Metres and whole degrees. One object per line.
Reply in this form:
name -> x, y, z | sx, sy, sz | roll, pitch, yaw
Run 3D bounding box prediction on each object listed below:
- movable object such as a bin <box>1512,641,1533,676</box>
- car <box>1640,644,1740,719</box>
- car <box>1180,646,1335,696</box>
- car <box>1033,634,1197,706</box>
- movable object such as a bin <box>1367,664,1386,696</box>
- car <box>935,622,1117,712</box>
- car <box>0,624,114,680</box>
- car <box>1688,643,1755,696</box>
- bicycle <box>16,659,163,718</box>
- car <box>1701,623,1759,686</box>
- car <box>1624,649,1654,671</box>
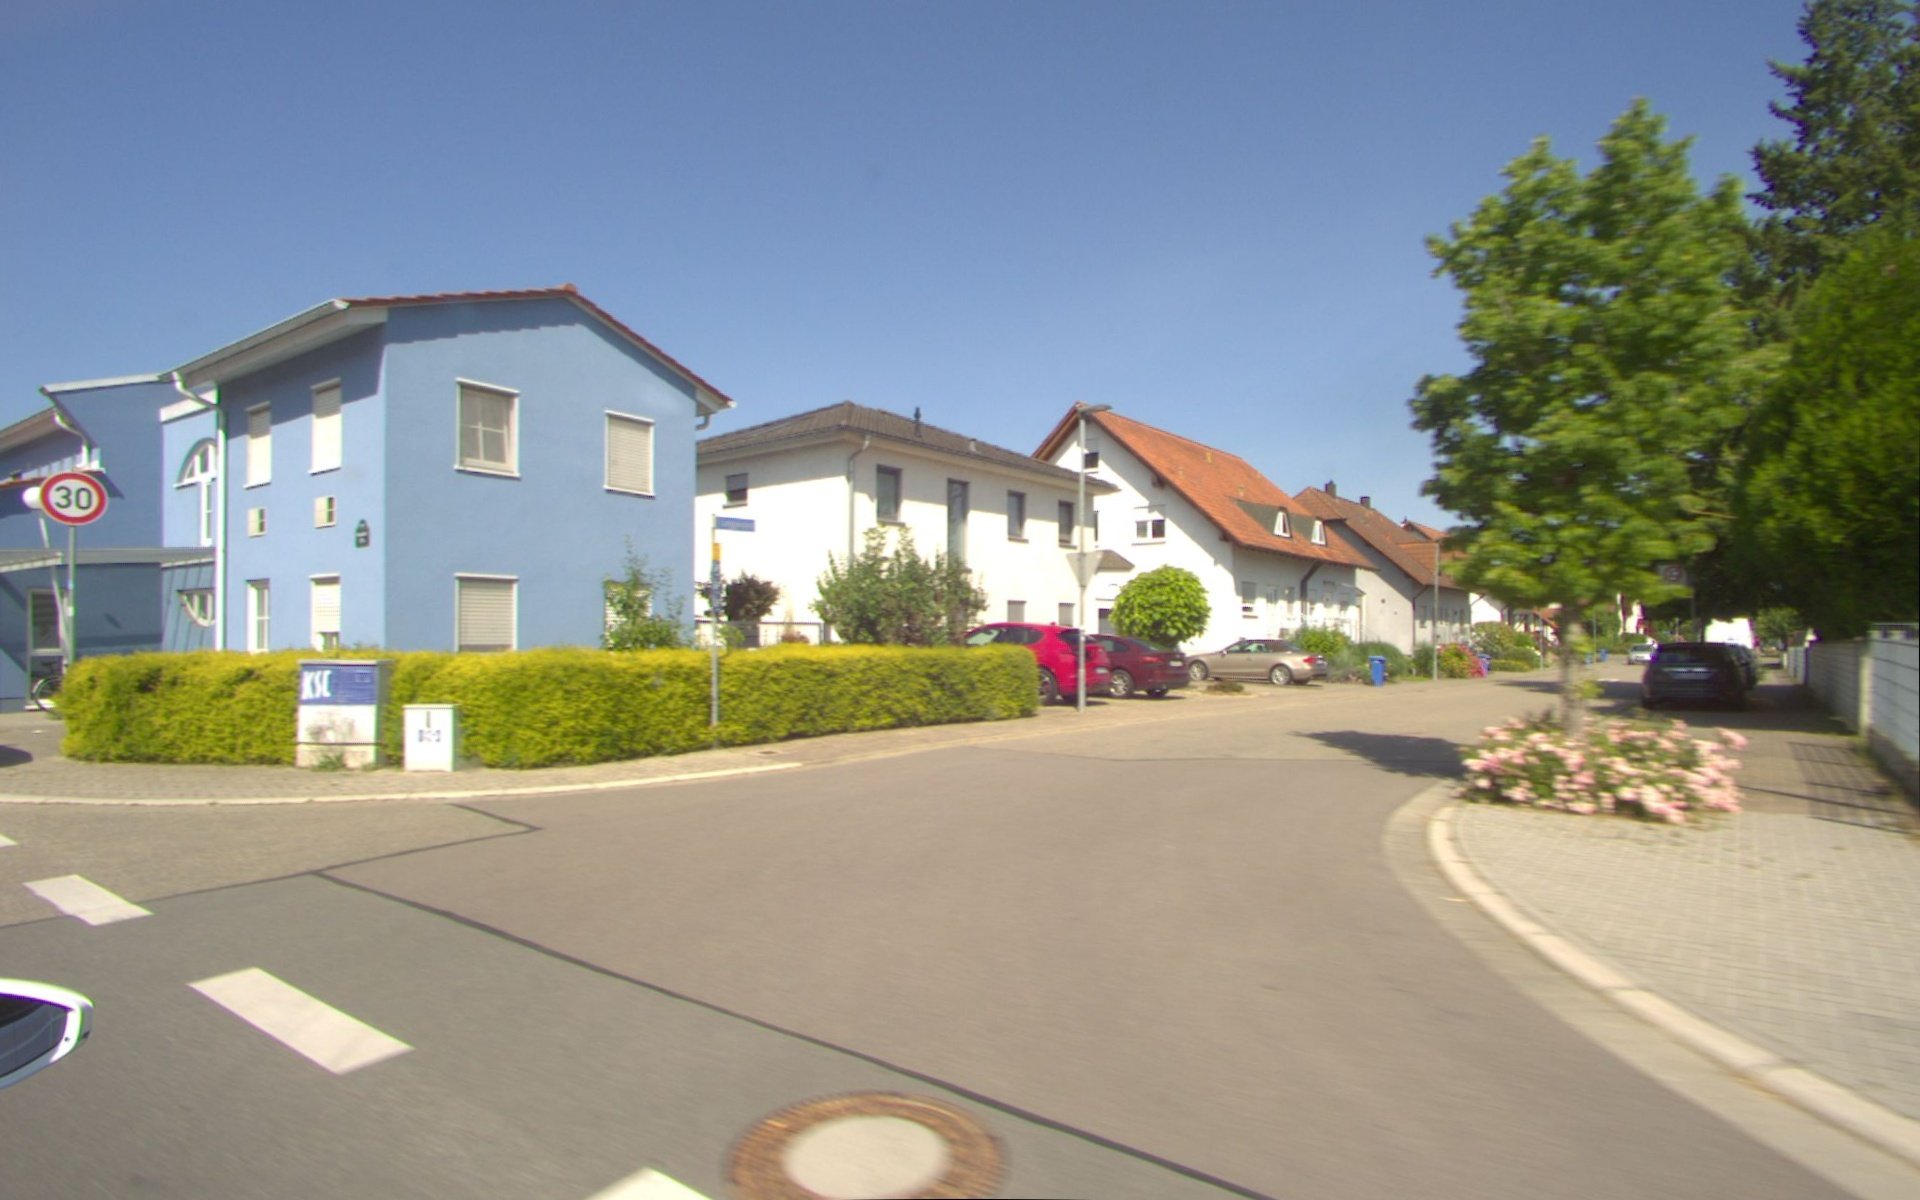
movable object such as a bin -> 34.461, 3.582, 61.320 | 1.012, 2.056, 0.913 | -2, -5, 34
car -> 16.037, 1.754, 22.040 | 1.619, 1.498, 3.881 | -2, -4, 36
car -> 9.225, 2.210, 31.263 | 4.336, 1.446, 1.686 | -3, -5, 39
car -> 3.564, 1.637, 23.281 | 3.433, 1.538, 1.615 | -3, -7, 39
movable object such as a bin -> 13.202, 2.546, 31.728 | 0.458, 0.991, 0.385 | -2, -5, 41
car -> 1.332, 1.401, 20.634 | 3.433, 1.691, 1.629 | -3, -7, 39
car -> -29.350, 1.620, 31.262 | 1.789, 1.678, 4.163 | -2, -3, 36
car -> 24.803, 2.293, 32.687 | 1.619, 1.555, 3.884 | -2, -6, 36
bicycle -> -16.058, 1.603, 18.522 | 0.648, 0.993, 1.949 | -1, -3, 35
car -> 33.114, 2.358, 43.137 | 1.823, 2.567, 3.881 | -2, -4, 36
car -> 49.082, 4.330, 72.371 | 1.619, 1.556, 3.882 | -2, -4, 36
